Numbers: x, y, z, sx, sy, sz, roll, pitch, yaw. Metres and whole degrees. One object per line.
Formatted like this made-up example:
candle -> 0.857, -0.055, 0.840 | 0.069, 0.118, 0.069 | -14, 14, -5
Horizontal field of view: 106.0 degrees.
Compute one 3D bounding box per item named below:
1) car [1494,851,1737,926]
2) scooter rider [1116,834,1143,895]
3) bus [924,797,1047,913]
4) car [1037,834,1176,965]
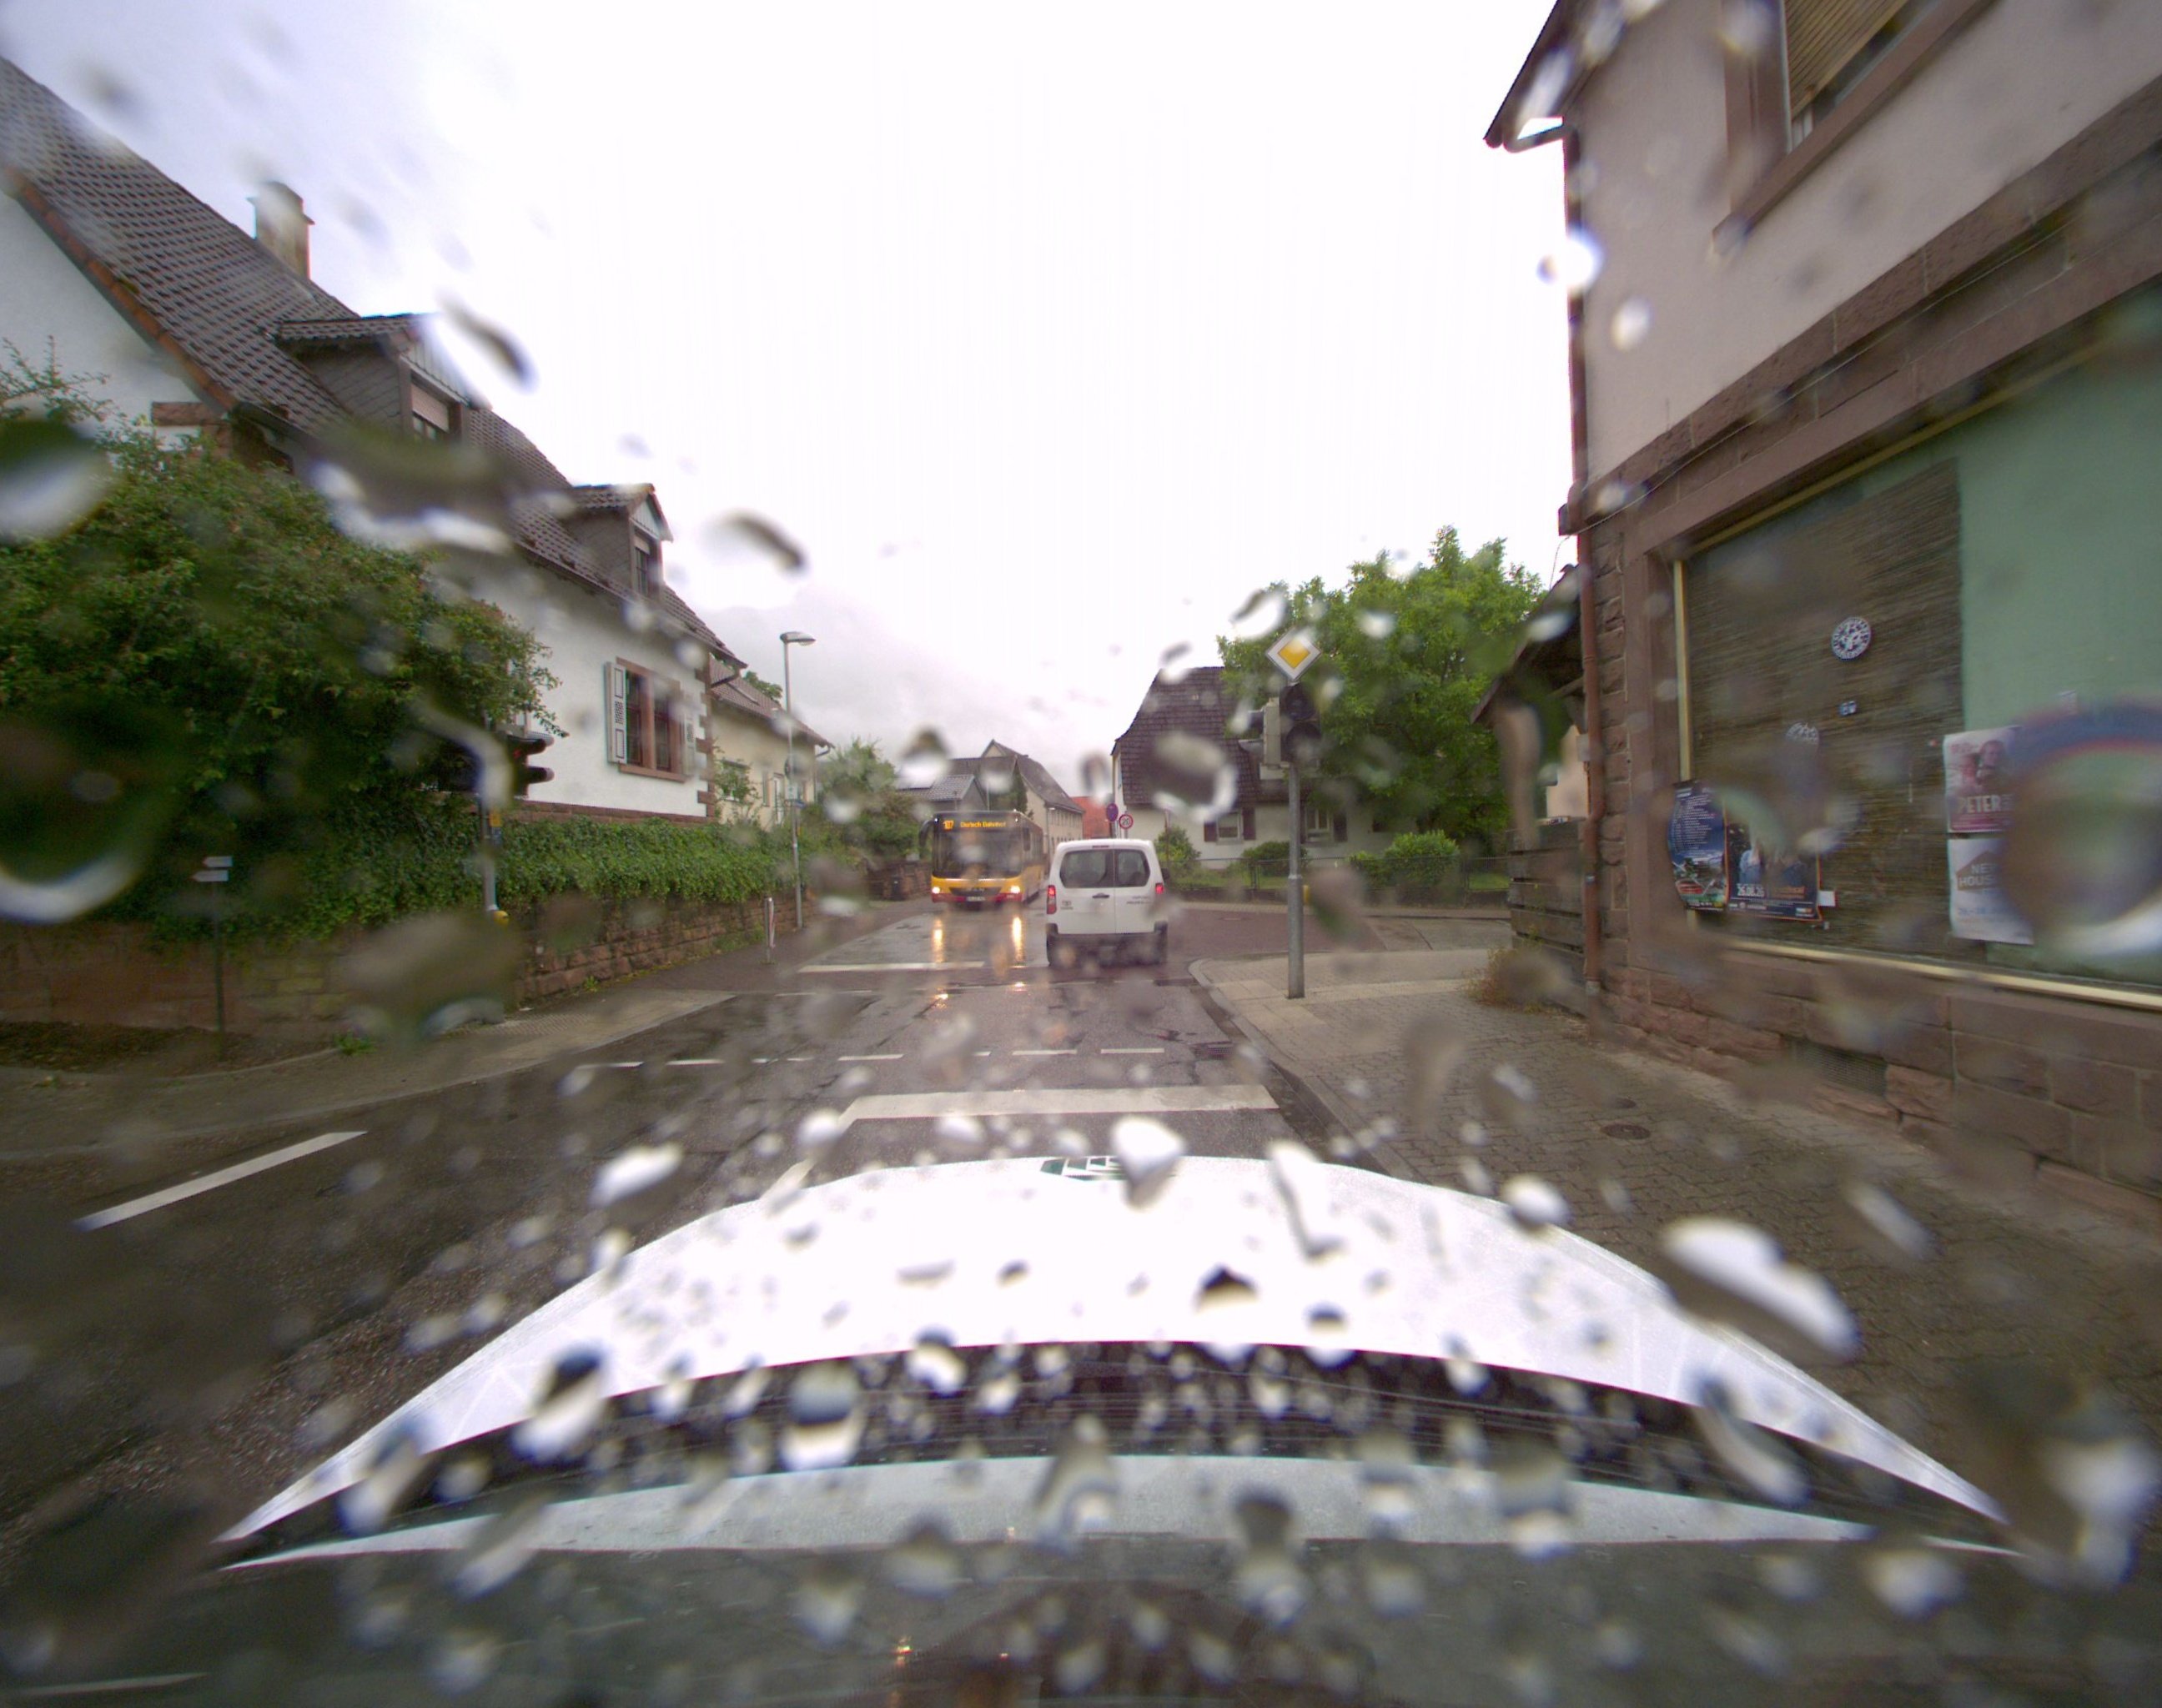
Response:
car -> 11.130, 0.683, 17.271 | 3.957, 1.467, 1.791 | 0, -1, 16
scooter rider -> 1.423, 0.304, 23.879 | 0.728, 1.733, 0.518 | -2, 1, 3
bus -> -2.789, -0.118, 27.743 | 2.641, 2.999, 12.192 | -2, 1, 0
car -> 0.443, 0.630, 13.172 | 1.886, 1.794, 3.816 | -1, 0, 3
